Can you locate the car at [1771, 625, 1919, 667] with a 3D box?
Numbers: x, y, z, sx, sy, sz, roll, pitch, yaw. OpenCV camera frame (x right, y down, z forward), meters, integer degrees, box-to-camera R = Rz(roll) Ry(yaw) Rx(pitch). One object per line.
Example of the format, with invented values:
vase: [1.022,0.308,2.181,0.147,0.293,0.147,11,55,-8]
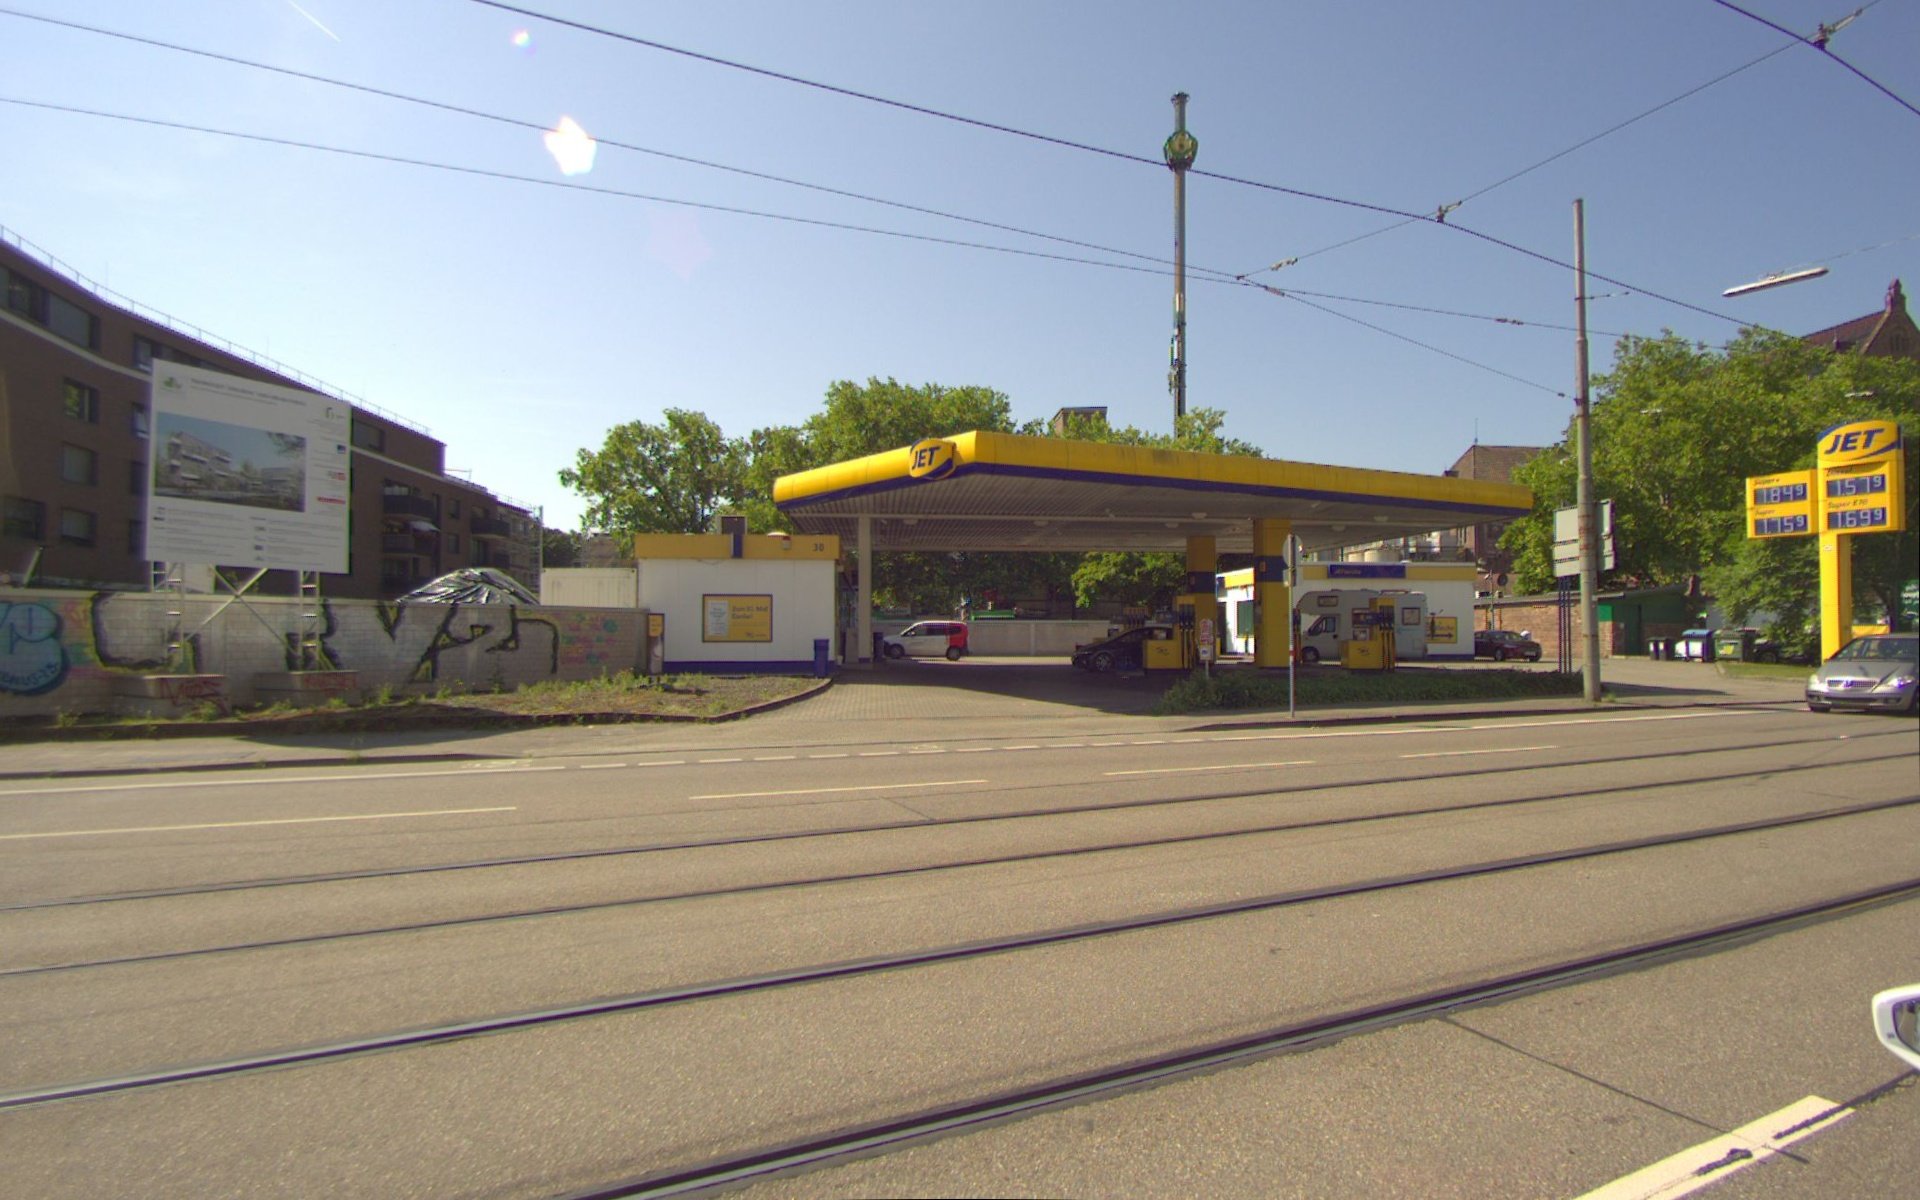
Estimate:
car: [36.297,1.842,41.024,4.486,1.646,1.951,0,-2,16]

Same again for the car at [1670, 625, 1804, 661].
car: [35.972,1.997,46.643,4.487,1.604,1.950,0,-2,16]

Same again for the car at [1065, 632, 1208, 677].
car: [5.695,1.765,32.714,4.306,1.320,1.701,1,0,-4]

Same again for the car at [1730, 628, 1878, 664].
car: [36.485,1.983,43.581,4.486,1.487,1.951,0,-2,16]

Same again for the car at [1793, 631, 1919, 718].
car: [18.803,1.472,20.179,3.840,1.591,1.741,2,-3,-26]

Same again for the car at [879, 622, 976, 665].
car: [-1.570,2.020,47.096,4.390,1.786,1.777,2,0,-6]

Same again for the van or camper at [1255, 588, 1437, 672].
van or camper: [15.575,1.110,40.576,6.587,3.007,2.614,2,1,26]

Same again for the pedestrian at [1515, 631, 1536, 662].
pedestrian: [27.774,2.272,49.327,0.630,1.488,0.676,1,-2,-20]

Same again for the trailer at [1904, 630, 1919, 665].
trailer: [43.789,2.104,43.991,1.755,1.546,3.203,1,-2,-27]

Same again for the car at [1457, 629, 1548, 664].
car: [25.694,2.187,47.725,1.900,1.547,4.170,1,-2,-3]
